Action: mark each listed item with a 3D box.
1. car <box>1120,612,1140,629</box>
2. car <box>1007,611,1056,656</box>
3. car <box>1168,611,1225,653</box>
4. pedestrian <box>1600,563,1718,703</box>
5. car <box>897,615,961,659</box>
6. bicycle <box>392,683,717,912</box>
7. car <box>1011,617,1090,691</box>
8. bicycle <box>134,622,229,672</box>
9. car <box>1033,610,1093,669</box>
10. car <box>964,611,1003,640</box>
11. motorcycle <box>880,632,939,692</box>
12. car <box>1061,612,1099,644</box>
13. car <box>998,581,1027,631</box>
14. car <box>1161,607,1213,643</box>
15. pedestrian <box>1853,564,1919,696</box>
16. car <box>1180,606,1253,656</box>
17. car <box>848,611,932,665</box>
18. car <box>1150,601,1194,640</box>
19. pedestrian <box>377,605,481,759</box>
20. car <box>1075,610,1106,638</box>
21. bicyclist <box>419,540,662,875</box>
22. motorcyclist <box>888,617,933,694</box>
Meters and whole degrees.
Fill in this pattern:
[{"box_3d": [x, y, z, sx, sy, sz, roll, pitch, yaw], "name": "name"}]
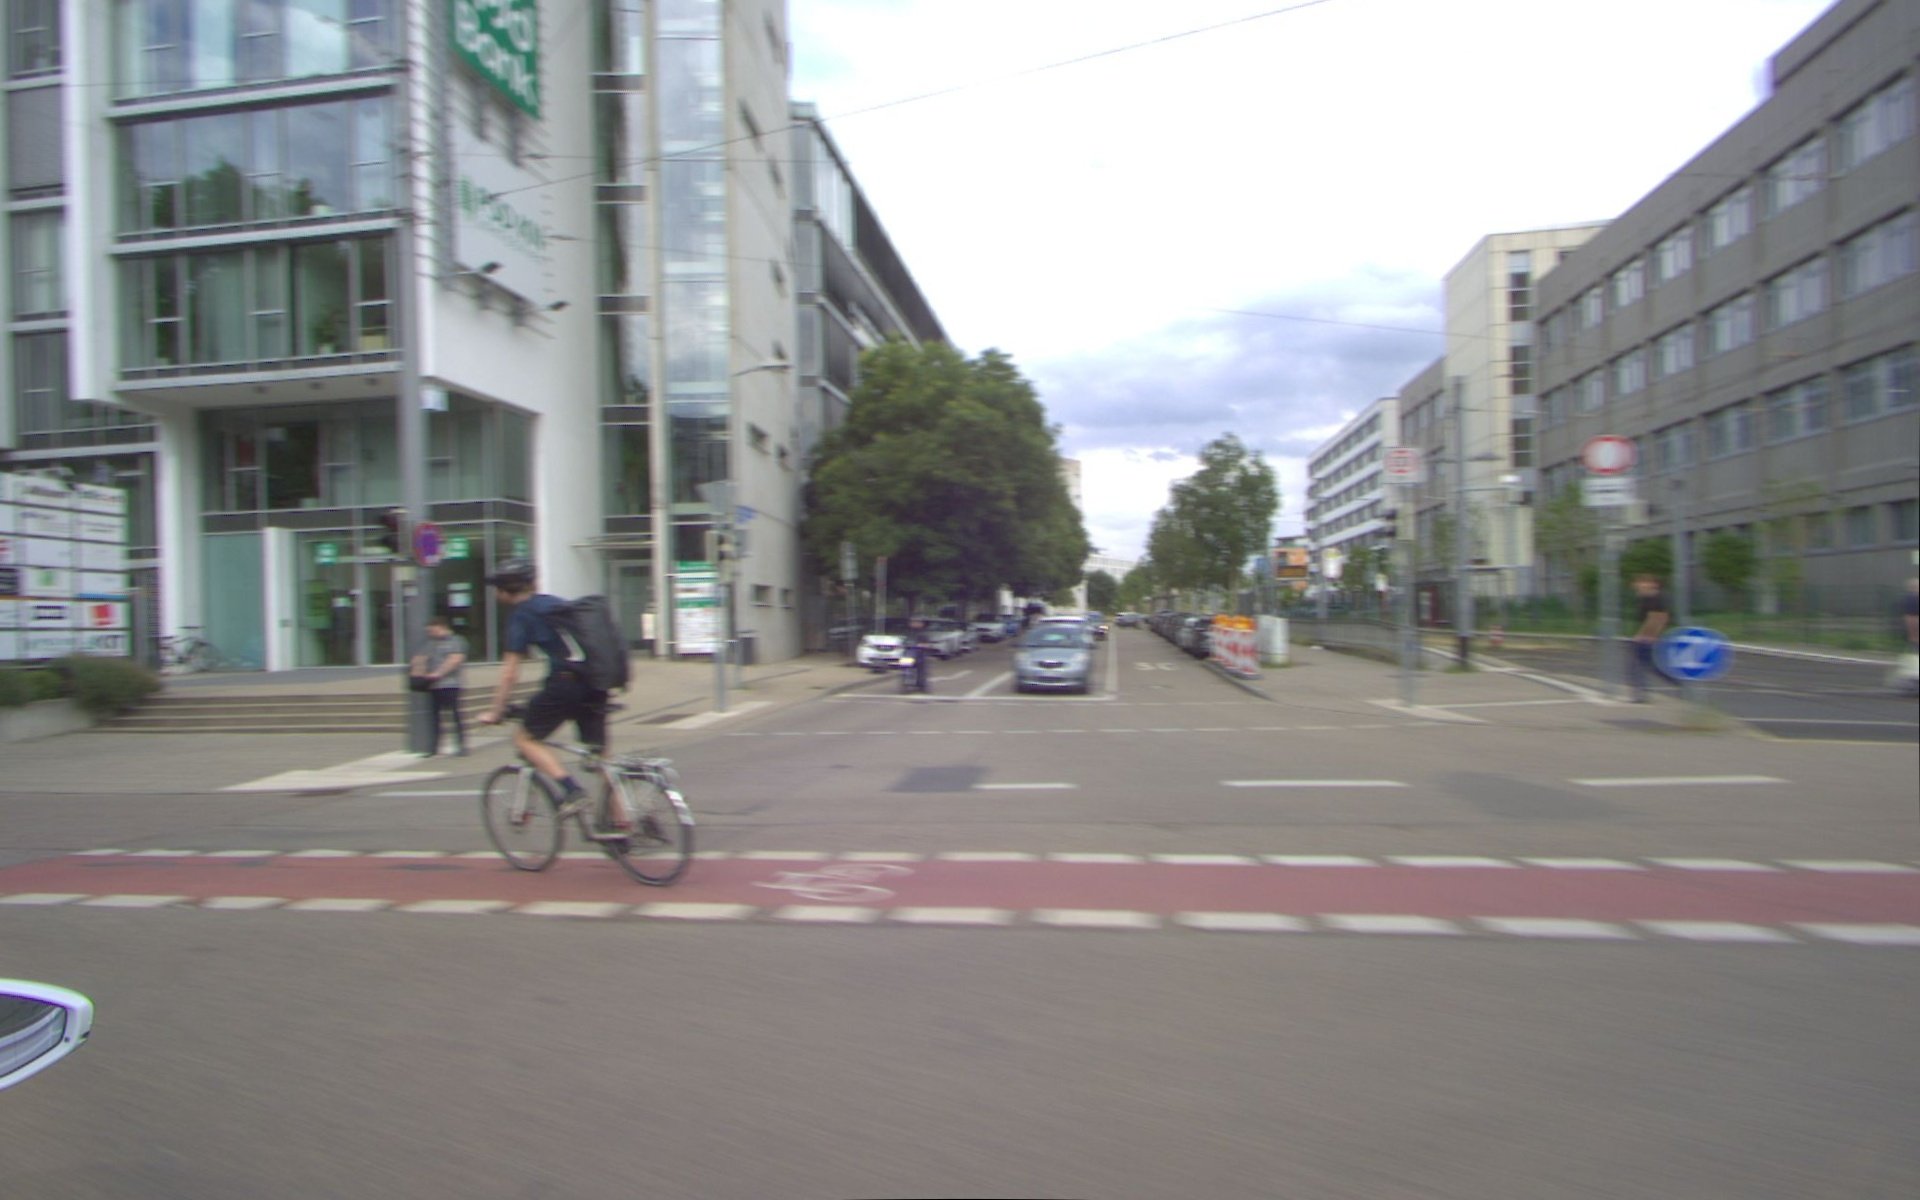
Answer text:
[{"box_3d": [16.228, 1.924, 95.576, 1.682, 1.606, 4.109, 0, -1, 8], "name": "car"}, {"box_3d": [2.885, 1.294, 39.813, 1.687, 1.682, 4.132, 0, -1, 8], "name": "car"}, {"box_3d": [10.035, 1.330, 42.760, 1.677, 1.626, 4.079, -2, -1, 4], "name": "car"}, {"box_3d": [10.080, 0.474, 14.481, 1.069, 1.923, 0.901, -2, 0, 13], "name": "pedestrian"}, {"box_3d": [-1.120, 1.379, 38.503, 1.800, 1.577, 4.216, 0, -1, 8], "name": "car"}, {"box_3d": [-2.496, 1.085, 6.047, 2.104, 1.100, 0.798, -3, -1, 36], "name": "bicycle"}, {"box_3d": [2.172, 1.165, 23.152, 1.641, 1.526, 4.234, 0, -1, 8], "name": "car"}, {"box_3d": [-19.303, 1.144, 24.888, 0.575, 1.192, 2.115, -1, -1, 6], "name": "bicycle"}, {"box_3d": [3.205, 1.162, 30.610, 1.687, 1.682, 4.132, 0, -1, 8], "name": "car"}, {"box_3d": [1.378, 1.435, 56.786, 1.954, 1.577, 4.512, 0, -1, 5], "name": "car"}, {"box_3d": [-1.076, 1.328, 22.026, 0.812, 1.215, 2.502, -1, -1, 8], "name": "motorcycle"}, {"box_3d": [6.183, 1.405, 51.410, 1.873, 1.606, 4.181, 0, -1, 8], "name": "car"}, {"box_3d": [3.985, 0.476, 75.444, 1.954, 3.684, 4.512, 0, 0, 5], "name": "car"}, {"box_3d": [11.345, 1.248, 50.256, 1.838, 1.626, 4.213, -2, -1, 4], "name": "car"}, {"box_3d": [13.965, 0.429, 14.680, 0.975, 1.879, 0.900, -2, 0, 21], "name": "pedestrian"}, {"box_3d": [9.357, 1.109, 36.828, 1.849, 1.649, 4.087, -2, -1, 4], "name": "car"}, {"box_3d": [-2.103, 1.136, 31.292, 1.800, 1.577, 4.216, 0, -1, 8], "name": "car"}, {"box_3d": [11.670, 1.113, 55.413, 1.756, 2.013, 4.121, -2, -1, 4], "name": "car"}, {"box_3d": [-6.770, 1.029, 12.794, 0.821, 1.889, 0.765, -2, 0, 16], "name": "pedestrian"}, {"box_3d": [7.831, 1.409, 60.051, 1.762, 1.606, 4.141, 0, -1, 8], "name": "car"}, {"box_3d": [-2.551, 0.604, 6.082, 1.217, 1.808, 0.793, -2, 0, 36], "name": "bicyclist"}, {"box_3d": [-1.085, 1.209, 21.949, 0.806, 1.637, 0.882, -1, 0, 8], "name": "motorcyclist"}]
